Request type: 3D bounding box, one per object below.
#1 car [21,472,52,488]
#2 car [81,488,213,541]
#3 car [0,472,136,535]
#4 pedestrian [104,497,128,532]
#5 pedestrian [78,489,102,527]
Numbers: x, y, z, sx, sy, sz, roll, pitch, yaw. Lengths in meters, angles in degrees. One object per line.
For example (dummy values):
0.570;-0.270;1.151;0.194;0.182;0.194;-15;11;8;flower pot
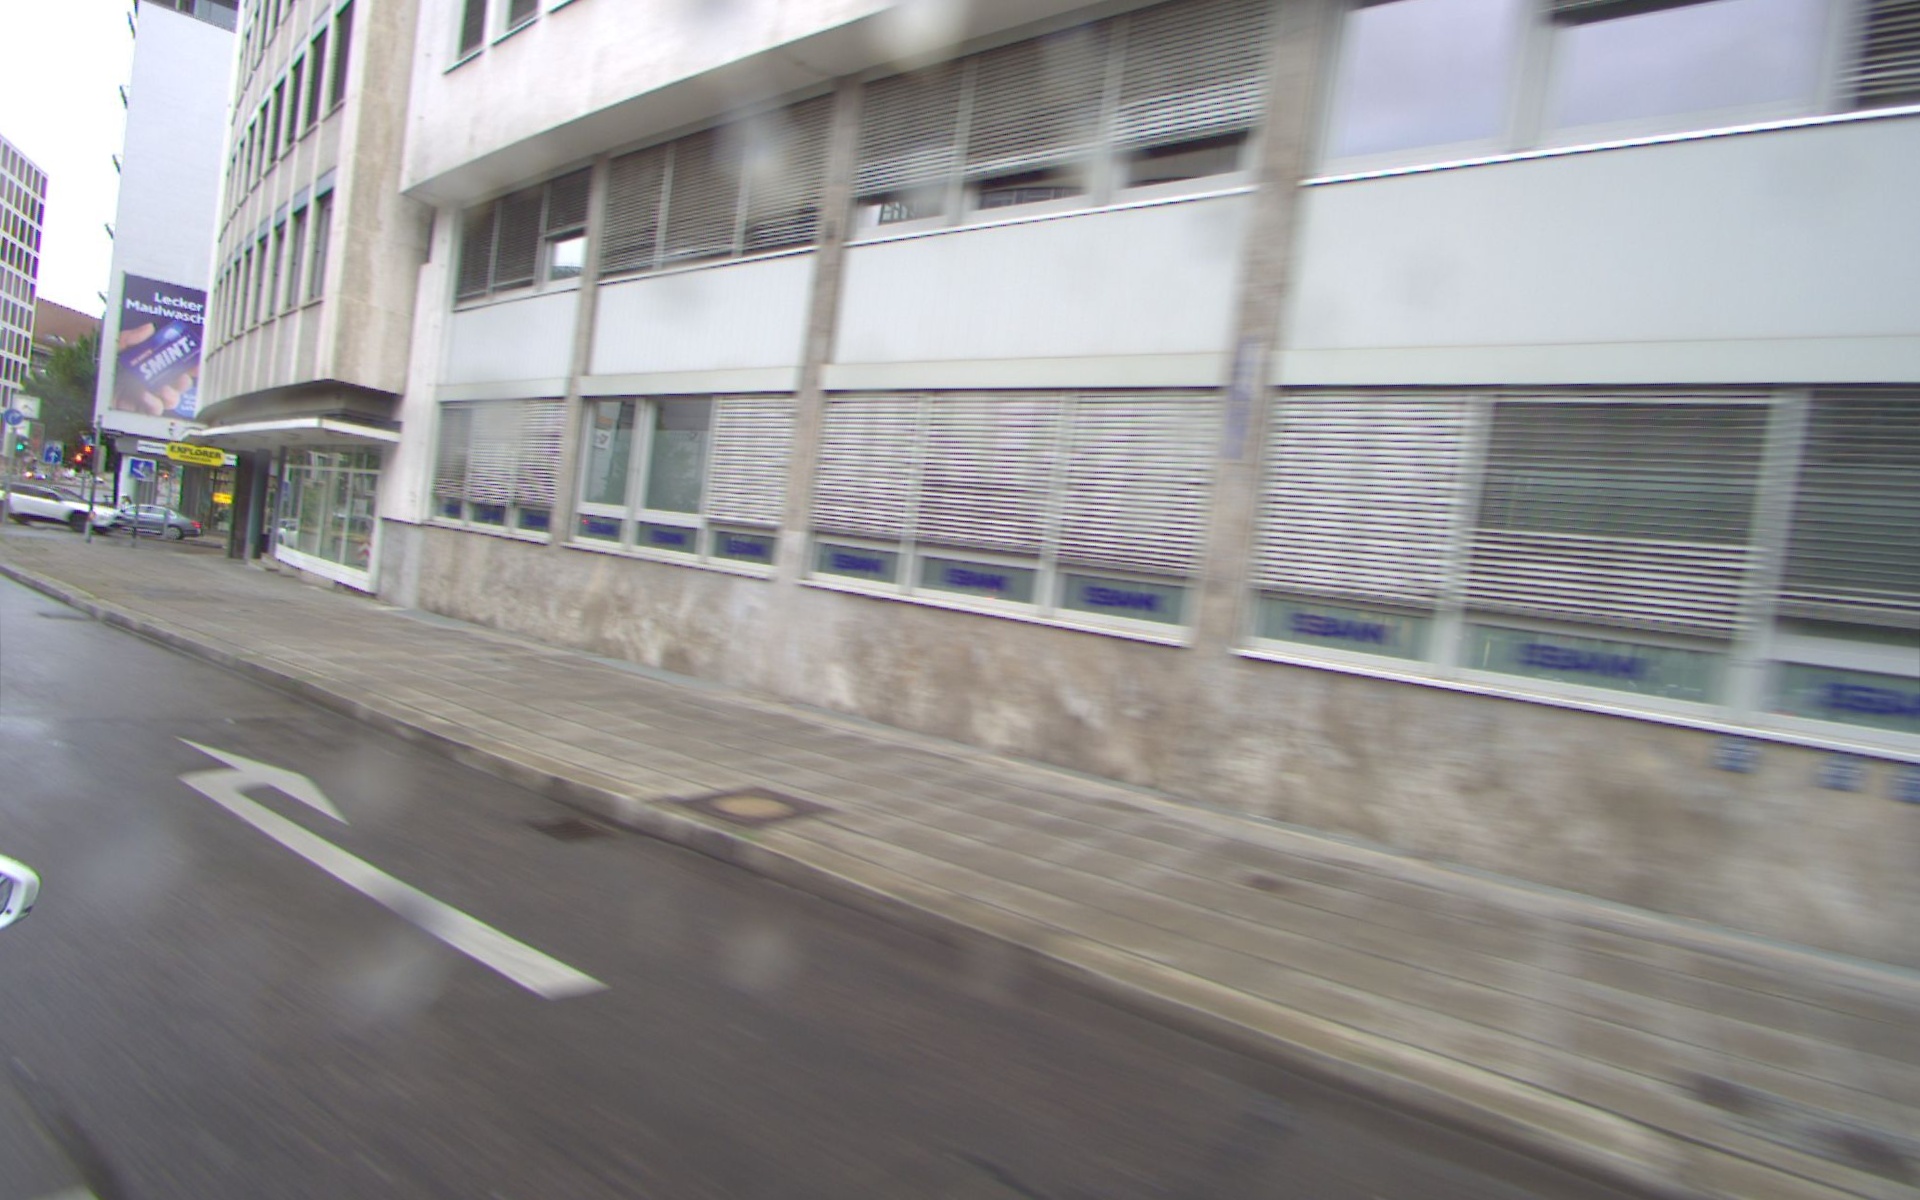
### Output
-122.111;-15.861;133.091;1.979;1.727;3.967;8;1;-30;car
-36.471;-3.799;45.295;4.320;1.527;1.898;10;-2;-35;car
-35.951;-3.853;39.912;4.463;1.771;1.993;8;0;-16;car
-39.859;-4.046;47.492;0.724;1.542;0.751;7;0;-41;pedestrian
-40.581;-4.287;46.933;0.724;1.688;0.683;7;0;-41;pedestrian
